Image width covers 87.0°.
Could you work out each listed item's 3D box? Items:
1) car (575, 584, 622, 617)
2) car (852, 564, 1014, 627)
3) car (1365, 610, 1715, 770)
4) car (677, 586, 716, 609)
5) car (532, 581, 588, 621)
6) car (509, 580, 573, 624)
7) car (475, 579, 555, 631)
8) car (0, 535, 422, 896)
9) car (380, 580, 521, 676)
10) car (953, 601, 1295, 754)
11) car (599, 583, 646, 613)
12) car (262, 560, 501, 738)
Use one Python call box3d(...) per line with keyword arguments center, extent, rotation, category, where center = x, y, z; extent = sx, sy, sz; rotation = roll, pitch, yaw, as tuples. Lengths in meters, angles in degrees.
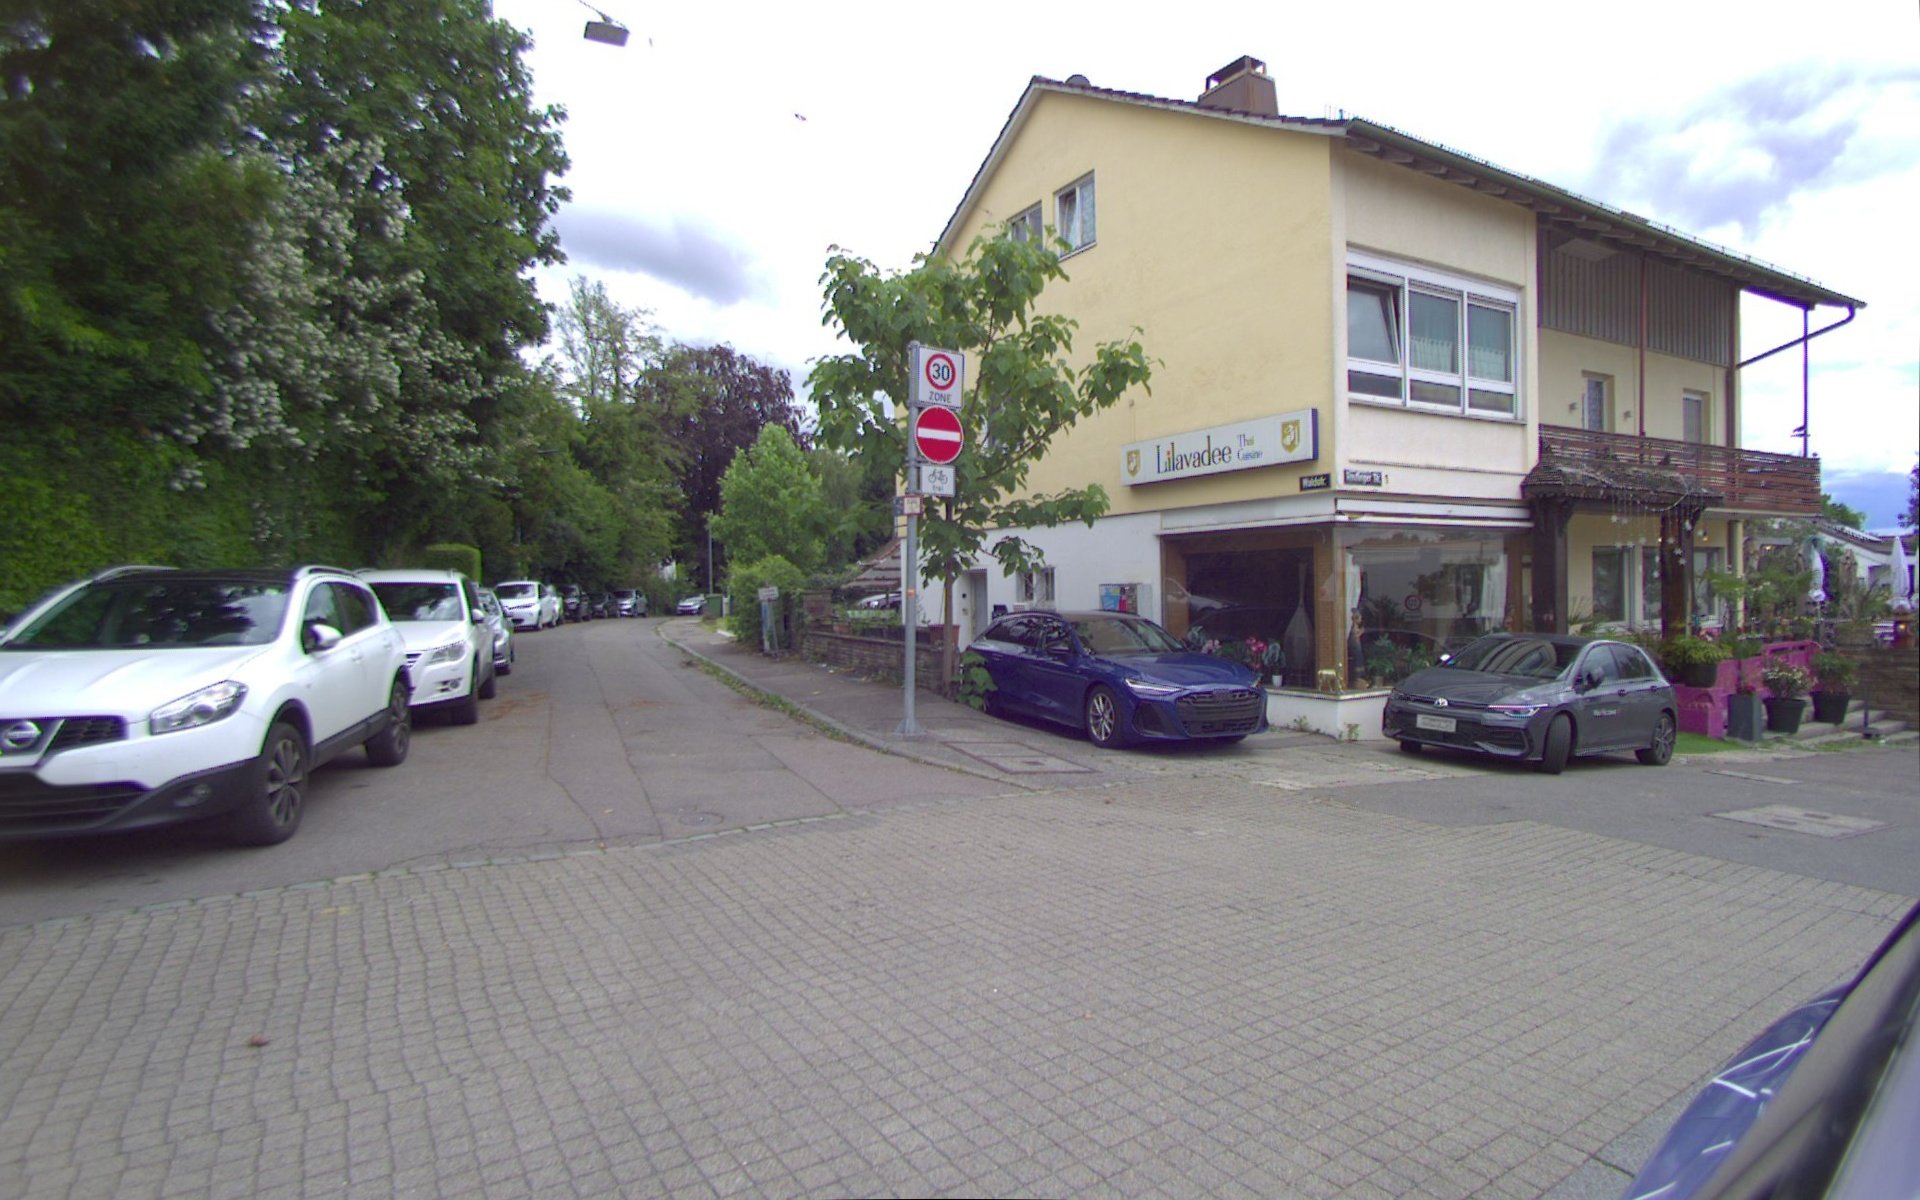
box3d(center=(-17.776, 0.002, 49.932), extent=(1.542, 1.502, 3.480), rotation=(-1, 1, -9), category="car")
box3d(center=(-0.785, -0.094, 29.299), extent=(4.235, 1.480, 1.802), rotation=(4, -2, -20), category="car")
box3d(center=(6.744, 1.000, 11.616), extent=(4.243, 1.480, 1.799), rotation=(5, -2, -35), category="car")
box3d(center=(-18.255, -0.192, 70.234), extent=(1.547, 1.502, 3.469), rotation=(-1, 1, 6), category="car")
box3d(center=(-15.903, -0.008, 40.375), extent=(1.541, 1.502, 3.481), rotation=(-1, 1, -12), category="car")
box3d(center=(-15.054, 0.038, 36.510), extent=(1.541, 1.502, 3.481), rotation=(-1, 1, -12), category="car")
box3d(center=(-13.760, 0.102, 31.476), extent=(1.541, 1.502, 3.746), rotation=(-1, 1, -12), category="car")
box3d(center=(-4.950, 0.505, 6.595), extent=(1.761, 1.643, 4.144), rotation=(-1, 1, -17), category="car")
box3d(center=(-8.646, 0.379, 17.483), extent=(1.761, 1.441, 4.080), rotation=(-1, 1, -21), category="car")
box3d(center=(1.702, 0.782, 12.365), extent=(1.761, 1.405, 4.757), rotation=(2, 0, -24), category="car")
box3d(center=(-18.181, -0.125, 54.609), extent=(1.543, 1.502, 3.477), rotation=(-1, 1, -4), category="car")
box3d(center=(-6.377, 0.423, 11.618), extent=(1.761, 1.643, 4.080), rotation=(-1, 1, -21), category="car")
